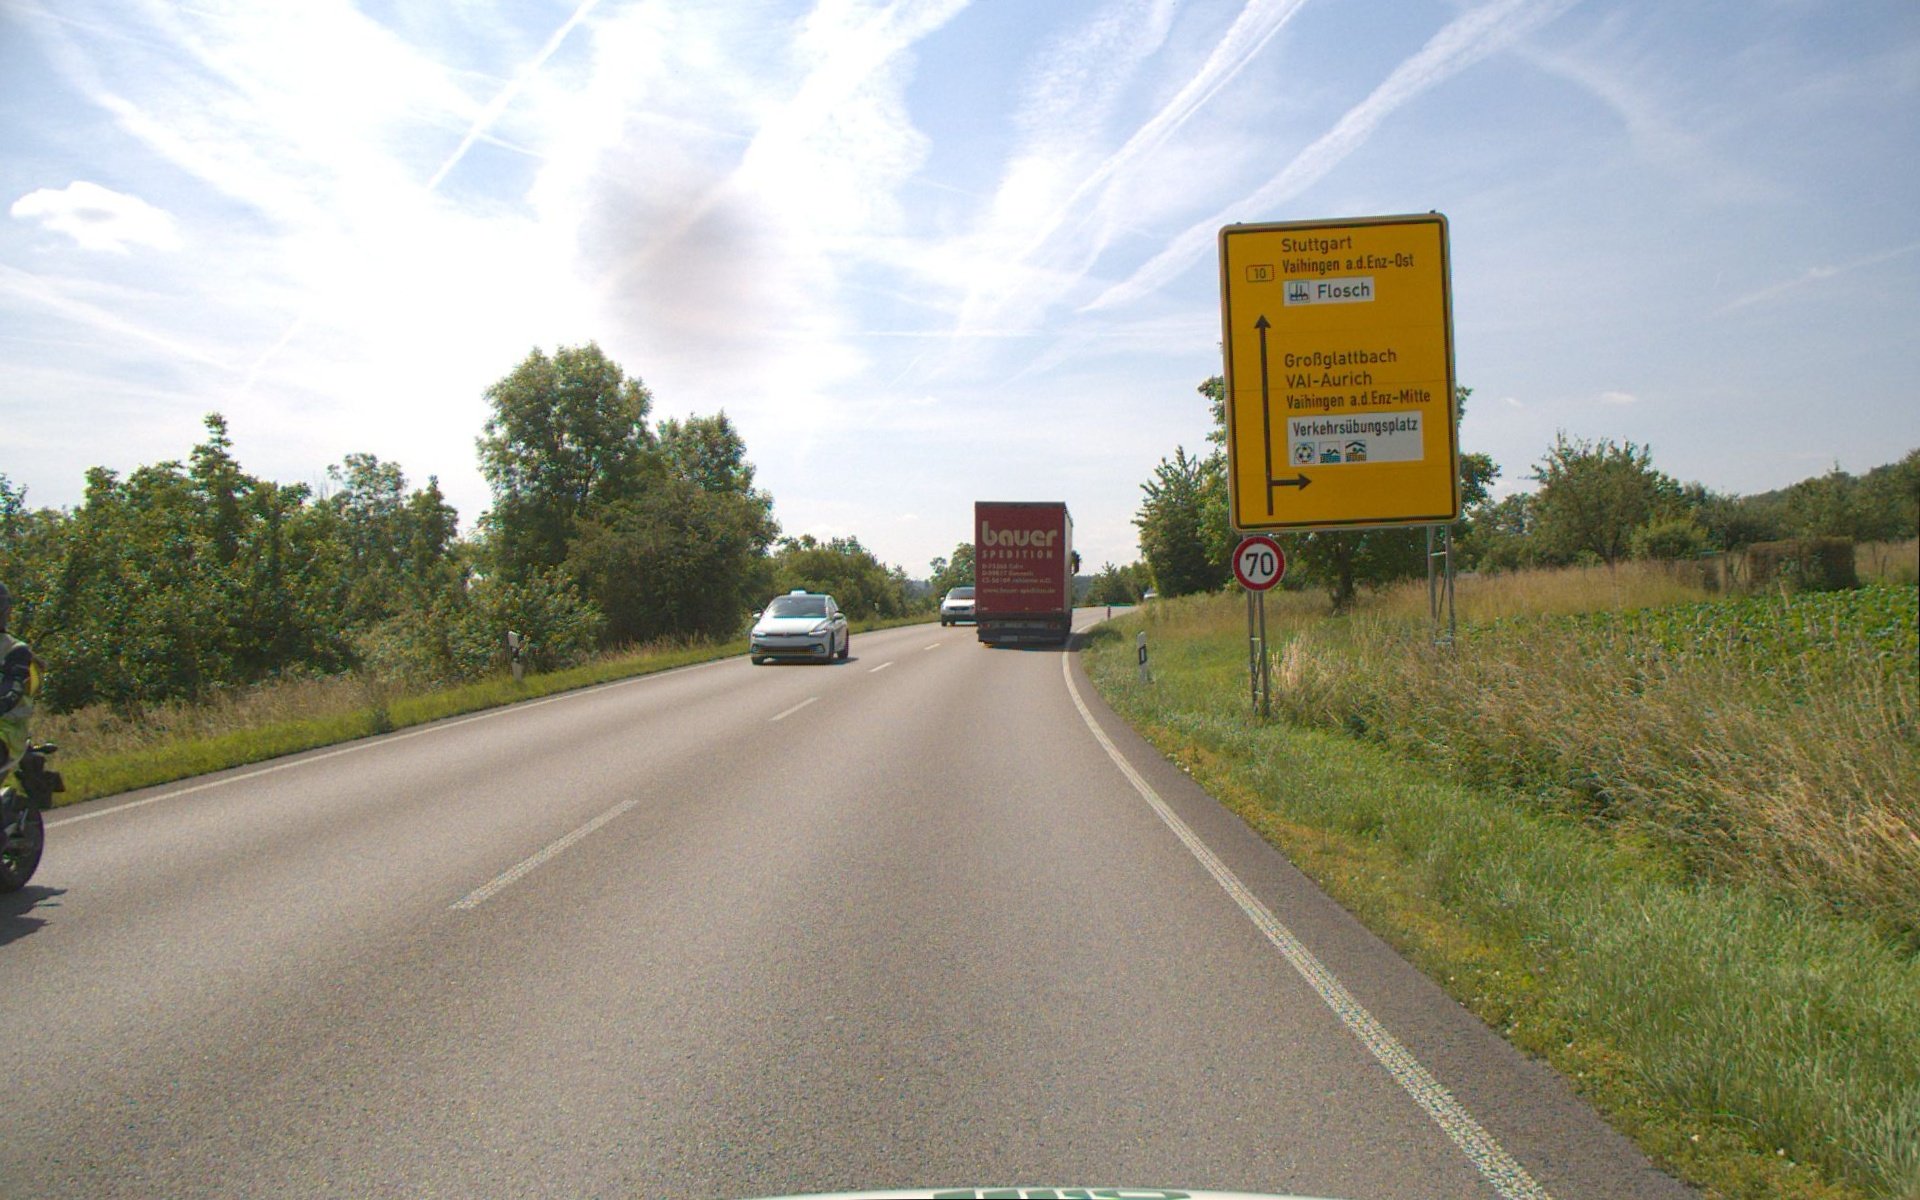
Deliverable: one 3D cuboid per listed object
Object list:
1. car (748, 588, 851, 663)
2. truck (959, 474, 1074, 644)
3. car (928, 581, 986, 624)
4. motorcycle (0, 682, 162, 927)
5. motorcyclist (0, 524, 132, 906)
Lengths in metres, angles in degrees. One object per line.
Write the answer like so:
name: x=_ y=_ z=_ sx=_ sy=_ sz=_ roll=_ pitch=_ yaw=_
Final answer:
car: x=-3.501 y=0.522 z=36.786 sx=1.753 sy=1.548 sz=4.161 roll=-1 pitch=0 yaw=2
truck: x=1.962 y=-1.085 z=51.231 sx=3.047 sy=4.585 sz=12.173 roll=1 pitch=0 yaw=4
car: x=-0.095 y=0.088 z=72.252 sx=1.794 sy=1.645 sz=4.366 roll=-4 pitch=0 yaw=8
motorcycle: x=-4.727 y=0.967 z=7.992 sx=0.742 sy=1.011 sz=2.278 roll=0 pitch=0 yaw=-3
motorcyclist: x=-4.729 y=0.532 z=8.056 sx=0.900 sy=1.748 sz=0.962 roll=-1 pitch=0 yaw=-1
